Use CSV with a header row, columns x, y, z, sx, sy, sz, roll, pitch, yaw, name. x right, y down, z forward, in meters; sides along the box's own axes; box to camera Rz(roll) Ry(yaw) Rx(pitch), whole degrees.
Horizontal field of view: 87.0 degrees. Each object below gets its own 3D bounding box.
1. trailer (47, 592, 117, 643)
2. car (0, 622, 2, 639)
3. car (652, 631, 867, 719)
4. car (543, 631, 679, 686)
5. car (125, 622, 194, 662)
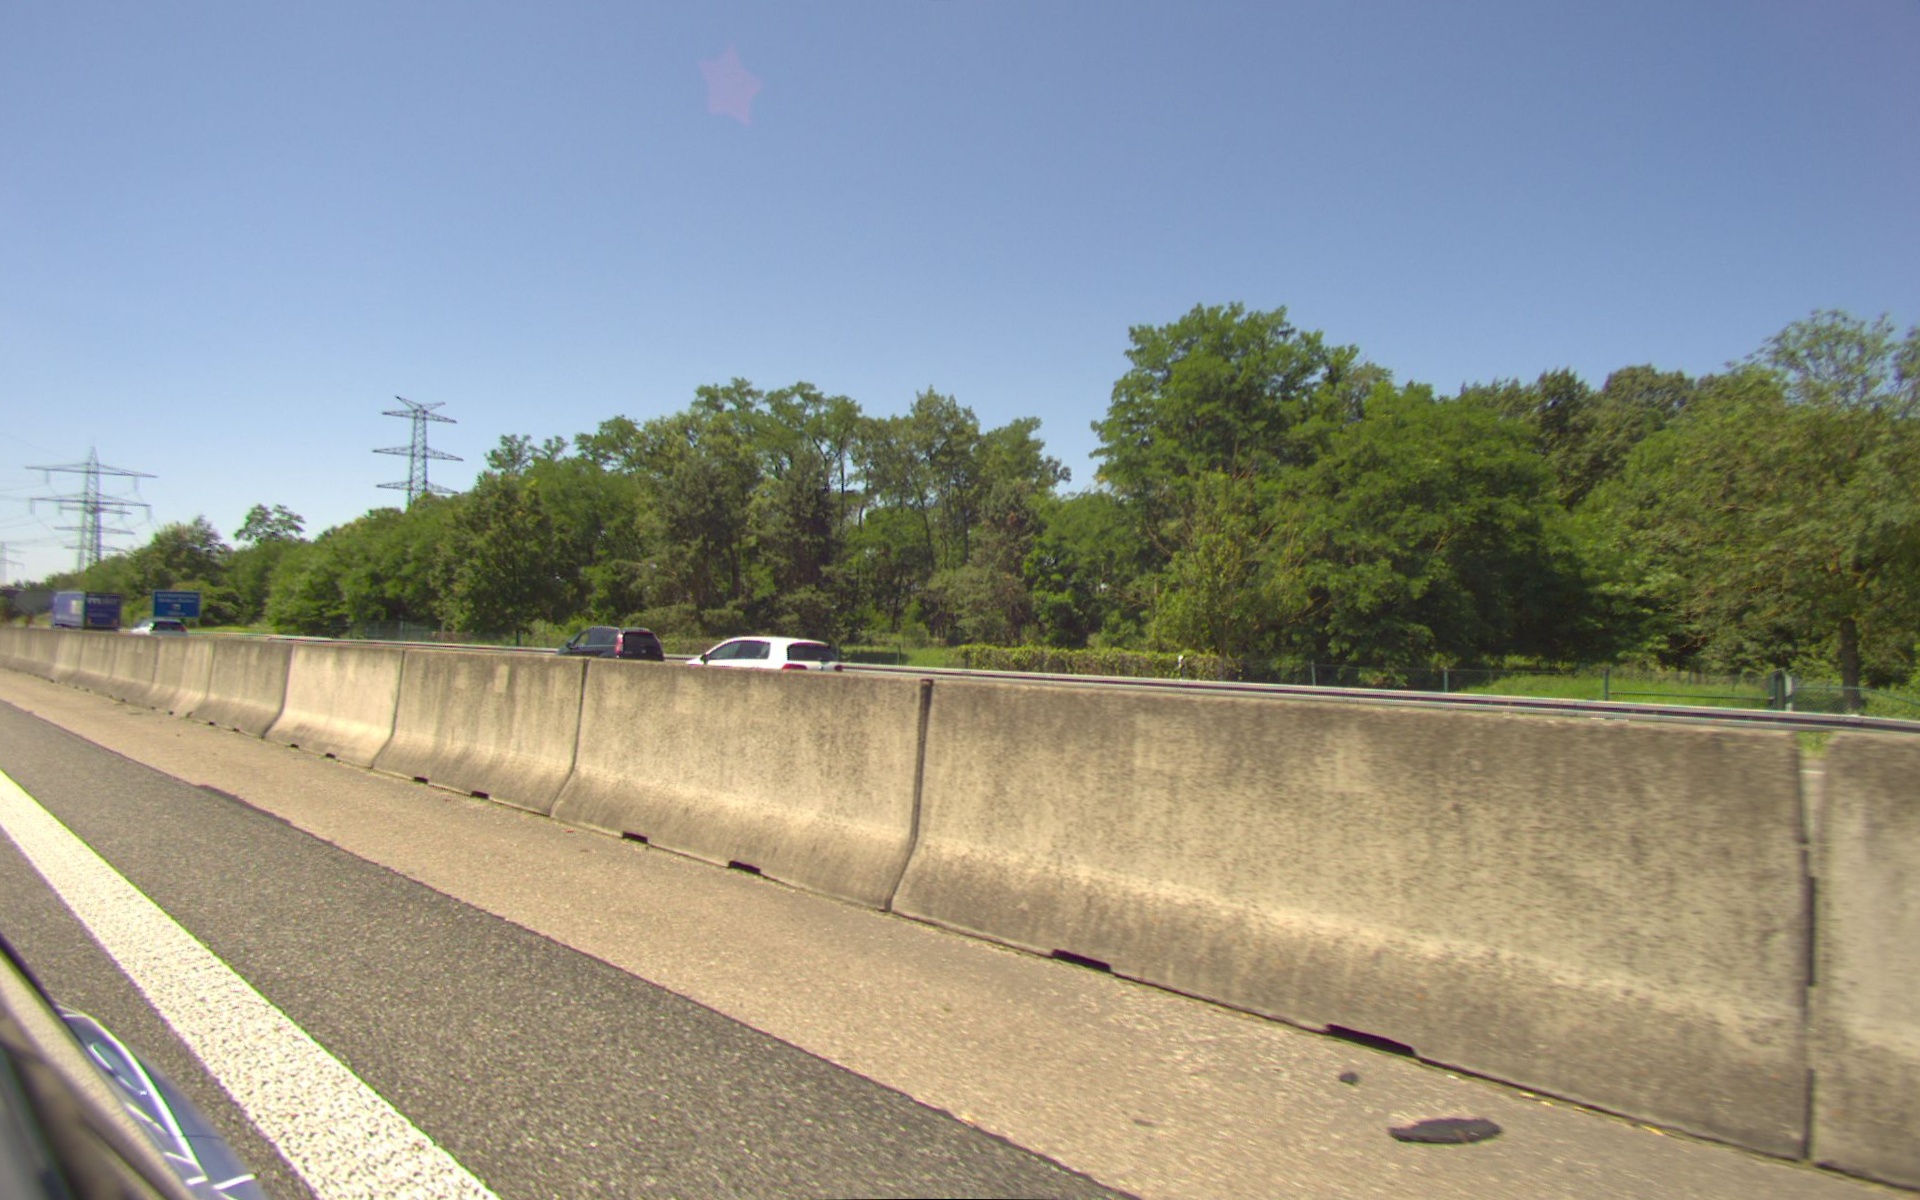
x,y,z,sx,sy,sz,roll,pitch,yaw,name
-77.780,1.588,89.514,13.457,4.163,2.446,-1,-4,41,trailer
-83.571,2.583,86.676,4.541,1.449,1.735,-1,-4,41,car
-4.150,1.451,20.473,4.681,1.550,1.755,-1,-4,41,car
-11.089,1.809,32.023,4.681,1.570,1.973,-1,-4,41,car
-43.641,2.292,55.154,4.936,2.029,1.973,-1,-4,41,car
